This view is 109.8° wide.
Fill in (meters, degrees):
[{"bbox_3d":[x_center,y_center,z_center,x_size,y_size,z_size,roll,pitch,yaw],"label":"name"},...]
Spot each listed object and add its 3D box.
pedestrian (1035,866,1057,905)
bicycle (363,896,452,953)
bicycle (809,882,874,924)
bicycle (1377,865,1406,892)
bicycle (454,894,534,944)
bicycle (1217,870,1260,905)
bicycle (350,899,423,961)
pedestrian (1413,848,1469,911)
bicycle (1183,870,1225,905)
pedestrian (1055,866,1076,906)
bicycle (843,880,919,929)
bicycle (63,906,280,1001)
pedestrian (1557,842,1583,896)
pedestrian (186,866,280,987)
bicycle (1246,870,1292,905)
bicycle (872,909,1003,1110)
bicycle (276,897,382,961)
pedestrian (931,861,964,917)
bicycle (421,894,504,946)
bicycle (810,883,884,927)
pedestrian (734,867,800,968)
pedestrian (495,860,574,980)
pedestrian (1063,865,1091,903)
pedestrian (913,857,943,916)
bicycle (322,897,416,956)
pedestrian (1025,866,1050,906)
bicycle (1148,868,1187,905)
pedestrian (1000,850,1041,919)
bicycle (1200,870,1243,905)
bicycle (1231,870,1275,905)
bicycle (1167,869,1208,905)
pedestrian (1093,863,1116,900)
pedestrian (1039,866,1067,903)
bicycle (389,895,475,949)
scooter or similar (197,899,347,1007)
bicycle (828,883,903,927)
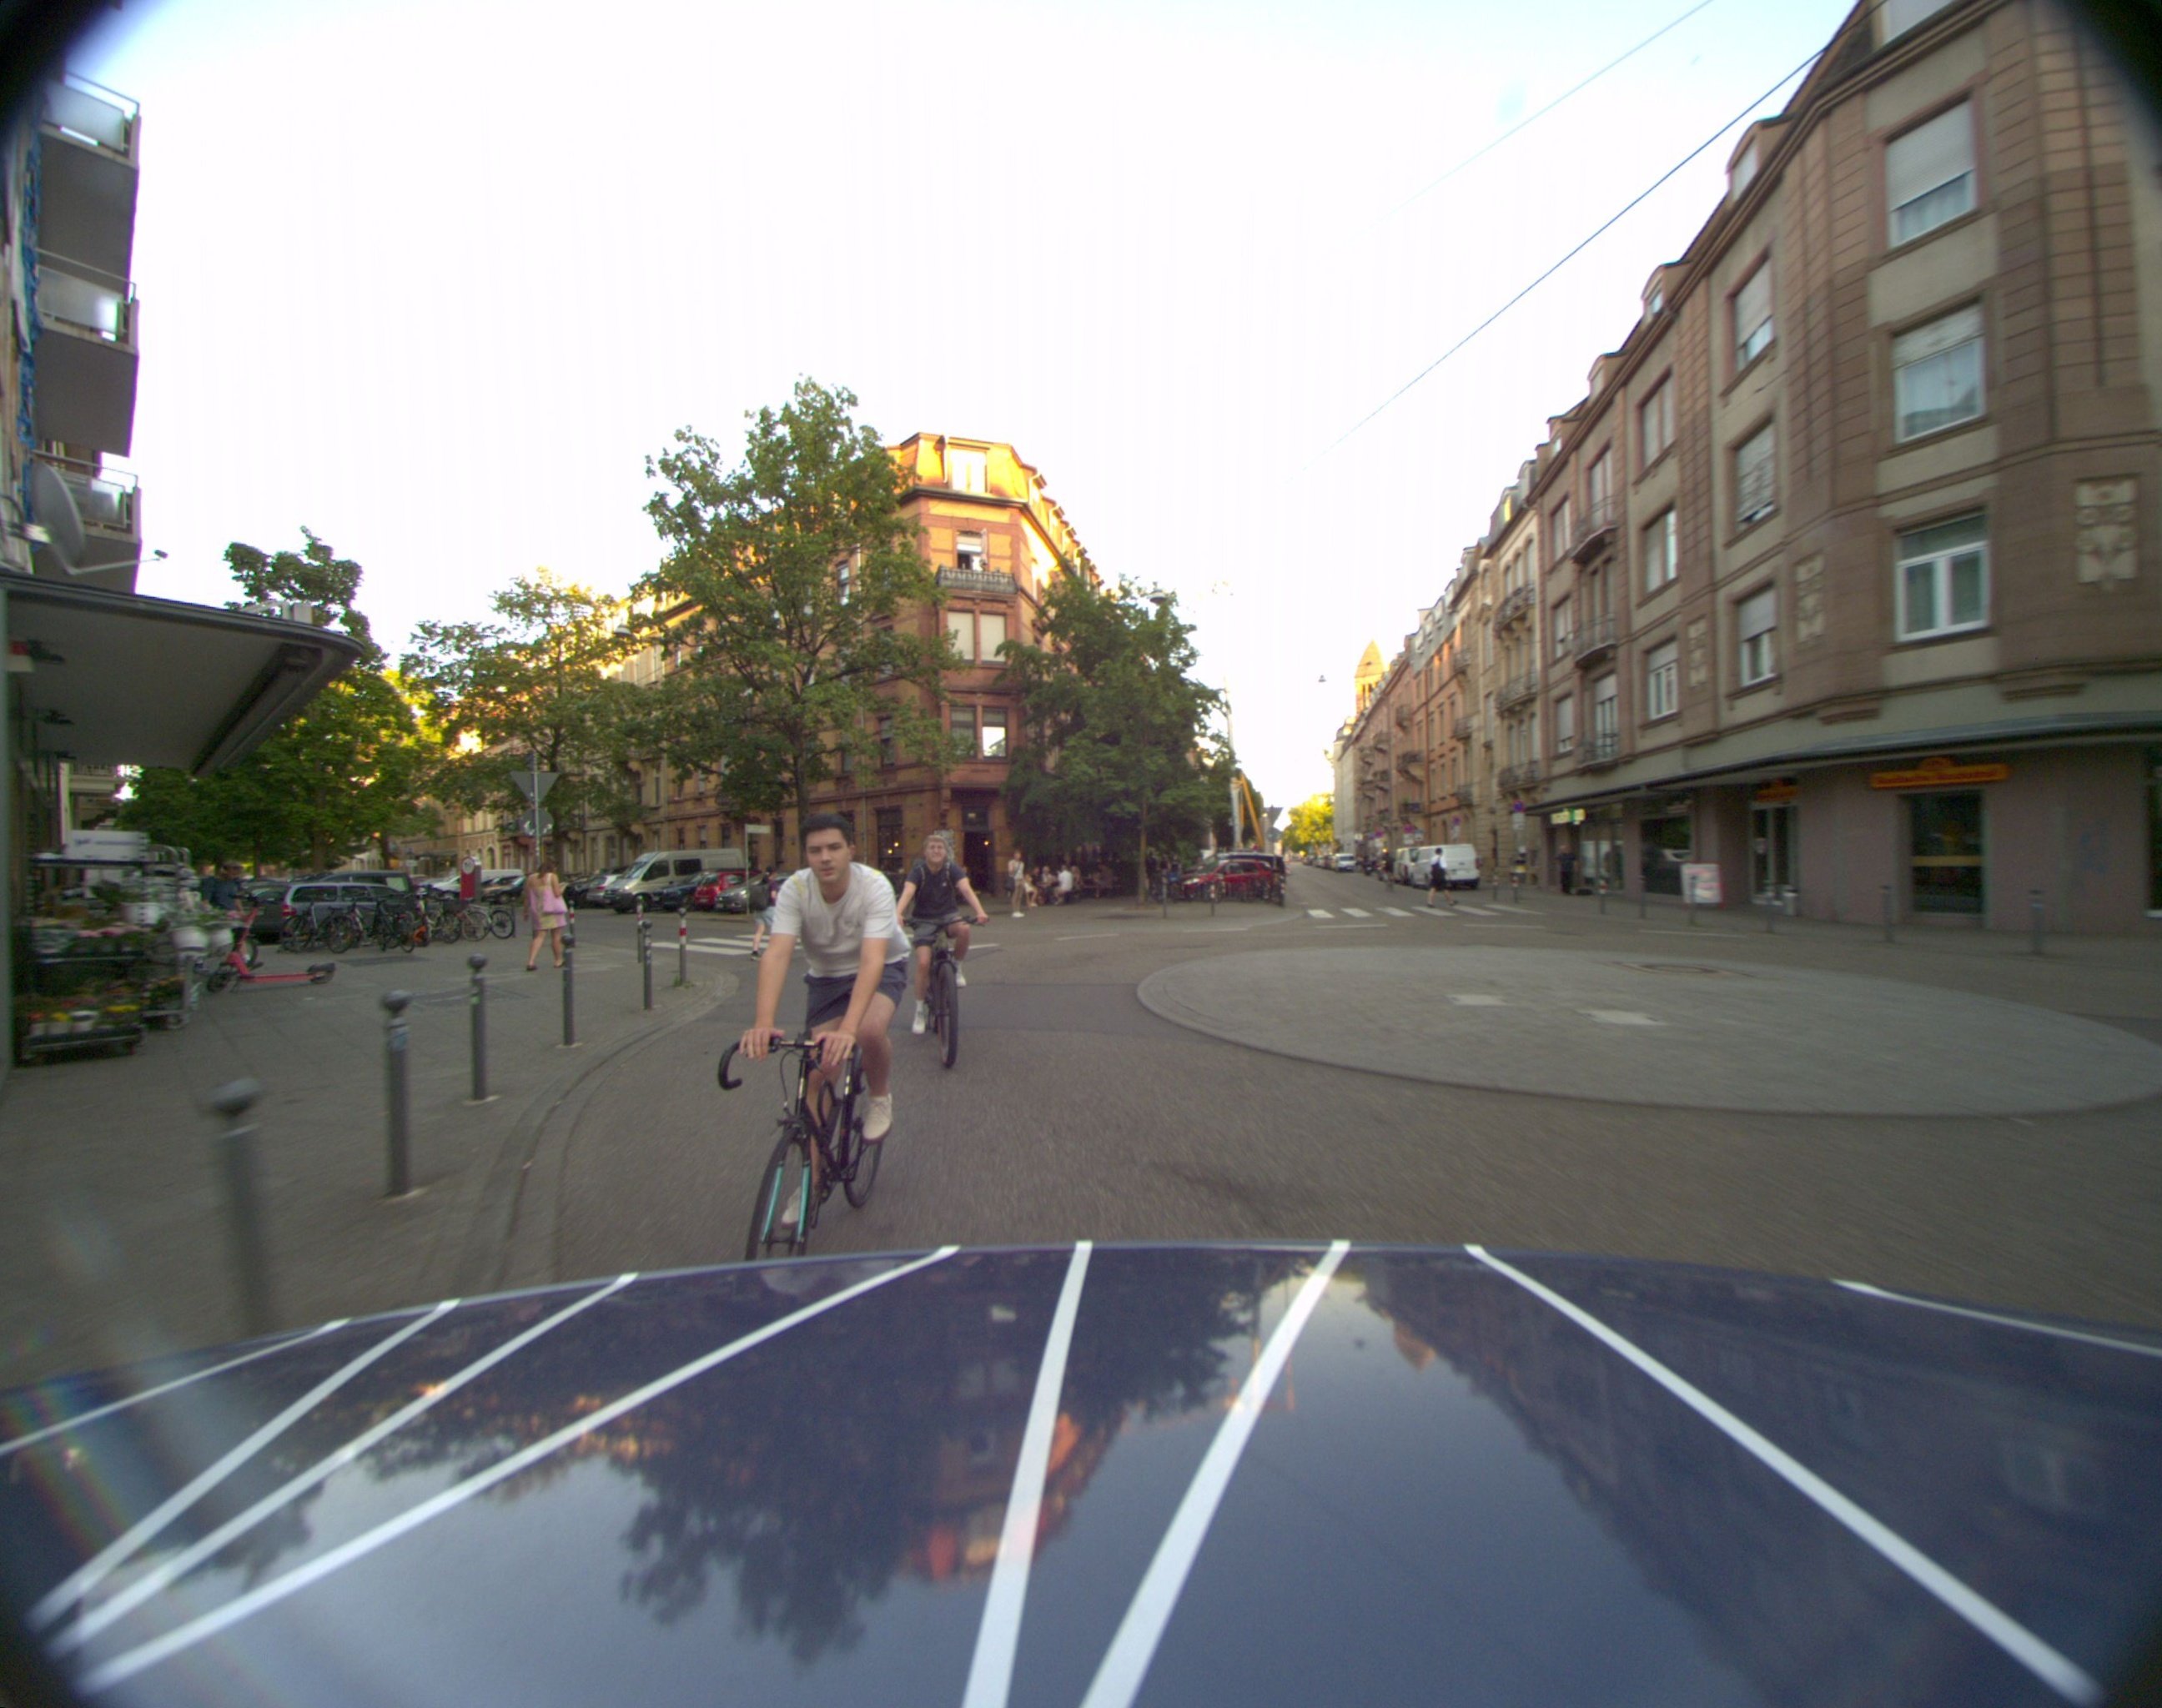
[{"bbox_3d":[-1.167,1.048,25.696,0.674,1.265,0.640,-2,1,-1],"label":"pedestrian"},{"bbox_3d":[-13.931,1.434,15.714,1.780,1.076,0.571,0,-1,19],"label":"bicycle"},{"bbox_3d":[-7.051,1.428,22.447,0.711,1.072,1.887,-2,1,25],"label":"bicycle"},{"bbox_3d":[13.891,1.078,34.031,0.754,1.124,1.978,-1,-1,8],"label":"bicycle"},{"bbox_3d":[-13.559,1.488,17.552,1.780,1.076,0.571,0,-1,19],"label":"bicycle"},{"bbox_3d":[5.566,1.173,26.959,0.666,1.125,2.113,1,0,-13],"label":"bicycle"},{"bbox_3d":[-13.137,1.409,14.362,1.779,1.076,0.571,-1,-1,32],"label":"bicycle"},{"bbox_3d":[10.425,0.736,22.033,1.213,1.733,0.748,-2,0,-11],"label":"pedestrian"},{"bbox_3d":[4.262,1.137,26.560,0.666,1.125,2.113,1,0,-13],"label":"bicycle"},{"bbox_3d":[-0.501,1.057,25.199,0.640,1.265,0.675,-2,1,0],"label":"pedestrian"},{"bbox_3d":[-5.434,1.351,20.762,0.710,1.148,1.888,-1,1,41],"label":"bicycle"},{"bbox_3d":[-12.238,1.297,10.313,1.787,1.119,0.608,1,-1,-35],"label":"bicycle"},{"bbox_3d":[16.410,0.504,25.516,0.654,1.768,0.693,-2,-1,32],"label":"pedestrian"},{"bbox_3d":[-12.635,1.033,11.325,0.766,1.706,0.862,0,-1,37],"label":"pedestrian"},{"bbox_3d":[6.670,1.173,27.036,0.666,1.162,2.113,1,0,-13],"label":"bicycle"},{"bbox_3d":[-1.132,1.080,6.073,0.794,1.132,2.341,-2,-1,-10],"label":"bicycle"},{"bbox_3d":[-14.230,1.387,14.383,1.780,1.104,0.684,0,-1,19],"label":"bicycle"},{"bbox_3d":[-4.019,1.045,22.876,0.642,1.628,0.673,-3,2,-40],"label":"pedestrian"},{"bbox_3d":[-13.782,1.457,16.931,1.780,1.076,0.571,0,-1,19],"label":"bicycle"},{"bbox_3d":[-6.633,1.424,21.593,0.710,1.052,1.888,-1,1,41],"label":"bicycle"},{"bbox_3d":[-5.169,1.018,12.540,0.537,1.597,0.870,0,-1,26],"label":"pedestrian"},{"bbox_3d":[-8.140,0.957,11.348,0.694,1.735,0.712,0,-1,-8],"label":"pedestrian"},{"bbox_3d":[-0.130,1.032,26.518,0.676,1.265,0.639,-3,2,-37],"label":"pedestrian"},{"bbox_3d":[-4.671,0.982,23.267,0.674,1.735,0.641,-2,1,5],"label":"pedestrian"},{"bbox_3d":[-14.181,1.417,15.133,1.780,1.076,0.571,0,-1,19],"label":"bicycle"},{"bbox_3d":[-1.445,1.061,25.122,0.675,1.265,0.640,-2,1,-13],"label":"pedestrian"},{"bbox_3d":[2.967,1.098,26.266,0.666,1.158,2.113,1,0,-13],"label":"bicycle"},{"bbox_3d":[-1.663,0.831,21.037,0.673,1.858,0.912,-1,1,28],"label":"pedestrian"},{"bbox_3d":[4.926,1.159,26.763,0.666,1.125,2.113,1,0,-13],"label":"bicycle"},{"bbox_3d":[6.151,1.168,27.296,0.666,1.162,2.113,1,0,-13],"label":"bicycle"},{"bbox_3d":[3.685,1.113,26.408,0.666,1.158,2.113,1,0,-13],"label":"bicycle"},{"bbox_3d":[0.867,1.002,27.922,0.721,1.297,0.751,-1,0,-6],"label":"pedestrian"},{"bbox_3d":[-0.968,1.055,26.517,0.673,1.265,0.642,-1,2,41],"label":"pedestrian"},{"bbox_3d":[-13.964,1.449,16.352,1.780,1.076,0.571,0,-1,19],"label":"bicycle"},{"bbox_3d":[-10.189,1.209,9.613,0.414,1.225,1.235,-1,-1,30],"label":"scooter or similar"},{"bbox_3d":[-5.989,1.391,21.204,0.710,1.045,1.888,-1,1,41],"label":"bicycle"}]
